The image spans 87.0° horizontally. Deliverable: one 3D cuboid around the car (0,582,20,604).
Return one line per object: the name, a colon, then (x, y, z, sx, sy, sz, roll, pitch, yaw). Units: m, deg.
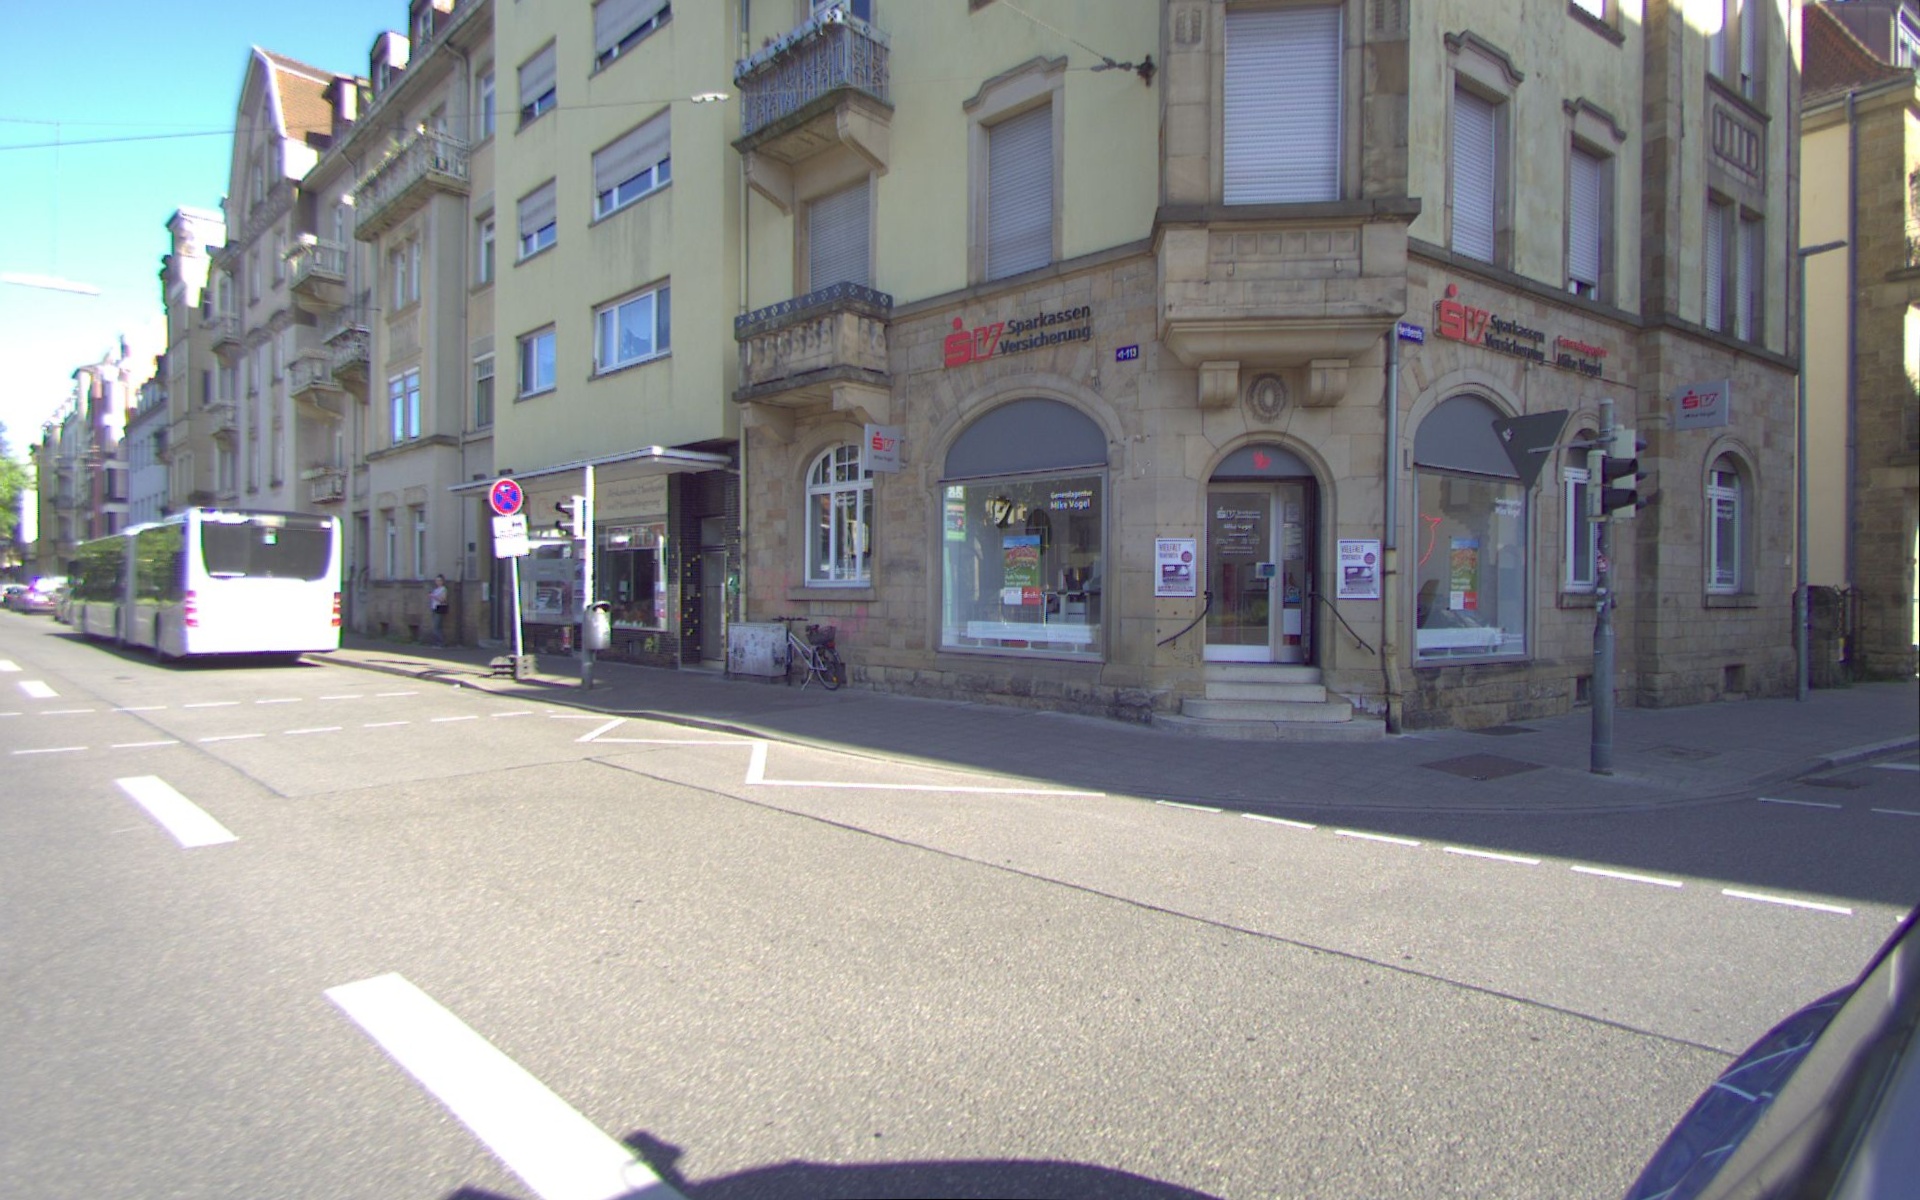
car: (-69.579, -0.524, 73.643, 3.564, 1.626, 1.536, 1, 0, 45)

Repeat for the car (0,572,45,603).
car: (-58.441, -0.779, 62.990, 3.984, 1.812, 1.773, 1, 0, 42)

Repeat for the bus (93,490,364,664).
bus: (-16.784, -0.471, 22.753, 10.649, 3.072, 3.083, 1, 0, 44)

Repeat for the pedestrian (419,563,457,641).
pedestrian: (-12.418, 0.049, 24.081, 0.696, 1.826, 0.520, 0, 0, -43)

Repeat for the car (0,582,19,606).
car: (-65.773, -0.438, 69.503, 3.564, 1.626, 1.536, 1, 0, 45)

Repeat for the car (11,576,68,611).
car: (-52.124, -0.363, 57.301, 3.984, 1.918, 2.000, 1, 0, 42)

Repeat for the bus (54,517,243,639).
bus: (-24.511, -0.619, 30.258, 10.830, 3.055, 3.046, 1, 0, 44)

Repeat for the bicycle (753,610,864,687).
bicycle: (-2.233, 0.676, 14.755, 1.947, 0.987, 0.509, 1, 3, 45)
